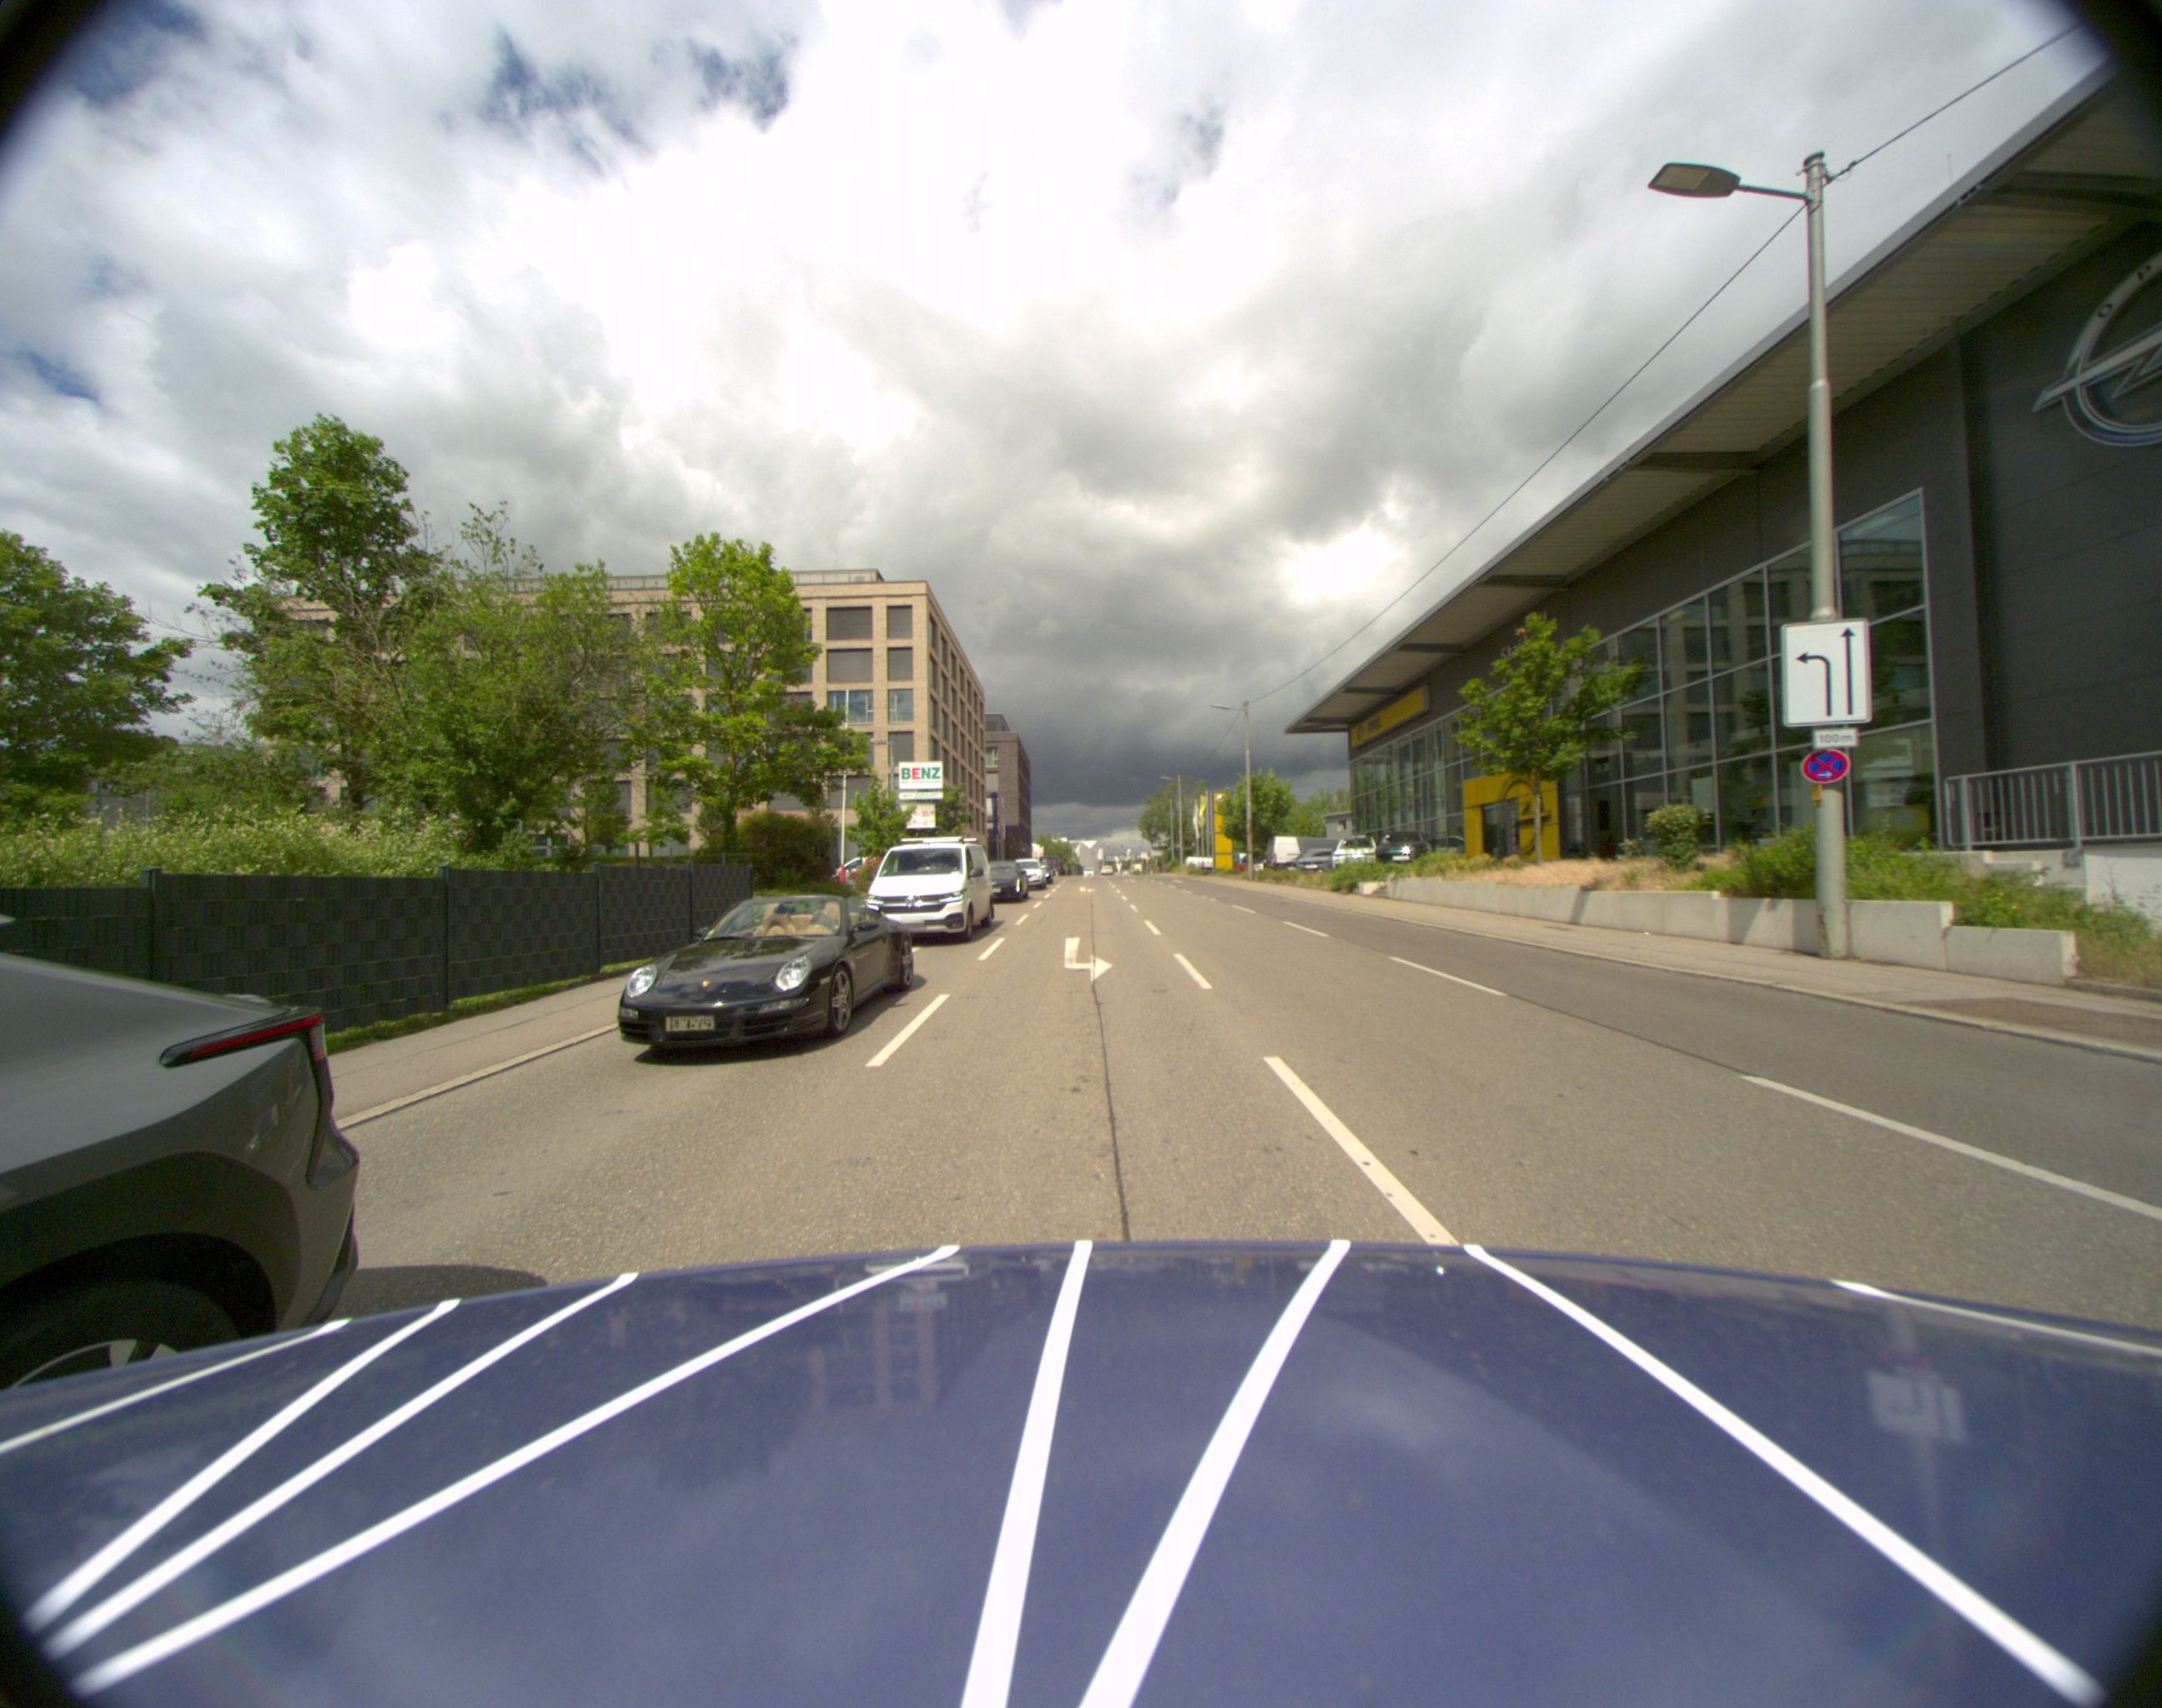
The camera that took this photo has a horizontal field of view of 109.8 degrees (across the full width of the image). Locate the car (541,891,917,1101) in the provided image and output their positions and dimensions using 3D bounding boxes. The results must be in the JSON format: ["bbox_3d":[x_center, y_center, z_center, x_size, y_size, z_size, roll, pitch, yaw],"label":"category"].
[{"bbox_3d":[-3.050,1.156,7.670,1.824,1.286,4.038,-2,0,1],"label":"car"}]

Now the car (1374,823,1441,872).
[{"bbox_3d":[12.321,-0.252,28.929,1.996,1.718,4.005,-1,0,18],"label":"car"}]

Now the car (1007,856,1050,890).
[{"bbox_3d":[-2.608,0.898,38.426,1.818,1.577,4.000,-1,0,1],"label":"car"}]

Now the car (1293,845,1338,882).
[{"bbox_3d":[12.091,0.469,39.013,1.995,1.783,4.006,-1,0,21],"label":"car"}]

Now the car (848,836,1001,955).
[{"bbox_3d":[-3.029,0.735,15.887,2.089,2.037,4.760,-2,0,1],"label":"car"}]

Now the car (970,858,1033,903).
[{"bbox_3d":[-2.843,0.915,27.885,1.818,1.454,4.000,-1,0,1],"label":"car"}]

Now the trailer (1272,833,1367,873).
[{"bbox_3d":[14.434,-0.068,46.173,5.074,2.336,2.000,-1,1,-1],"label":"trailer"}]

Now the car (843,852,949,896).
[{"bbox_3d":[-7.643,0.790,31.666,3.998,1.723,1.822,-1,1,-3],"label":"car"}]

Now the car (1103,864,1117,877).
[{"bbox_3d":[4.476,2.534,117.049,1.998,1.731,4.547,-2,0,1],"label":"car"}]

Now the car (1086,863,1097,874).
[{"bbox_3d":[1.959,2.704,142.793,1.998,1.819,4.547,-2,0,2],"label":"car"}]

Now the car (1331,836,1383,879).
[{"bbox_3d":[12.153,0.129,33.440,1.995,1.783,4.006,-1,0,21],"label":"car"}]

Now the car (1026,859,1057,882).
[{"bbox_3d":[-2.470,1.003,48.328,1.662,1.351,4.000,-1,0,1],"label":"car"}]
